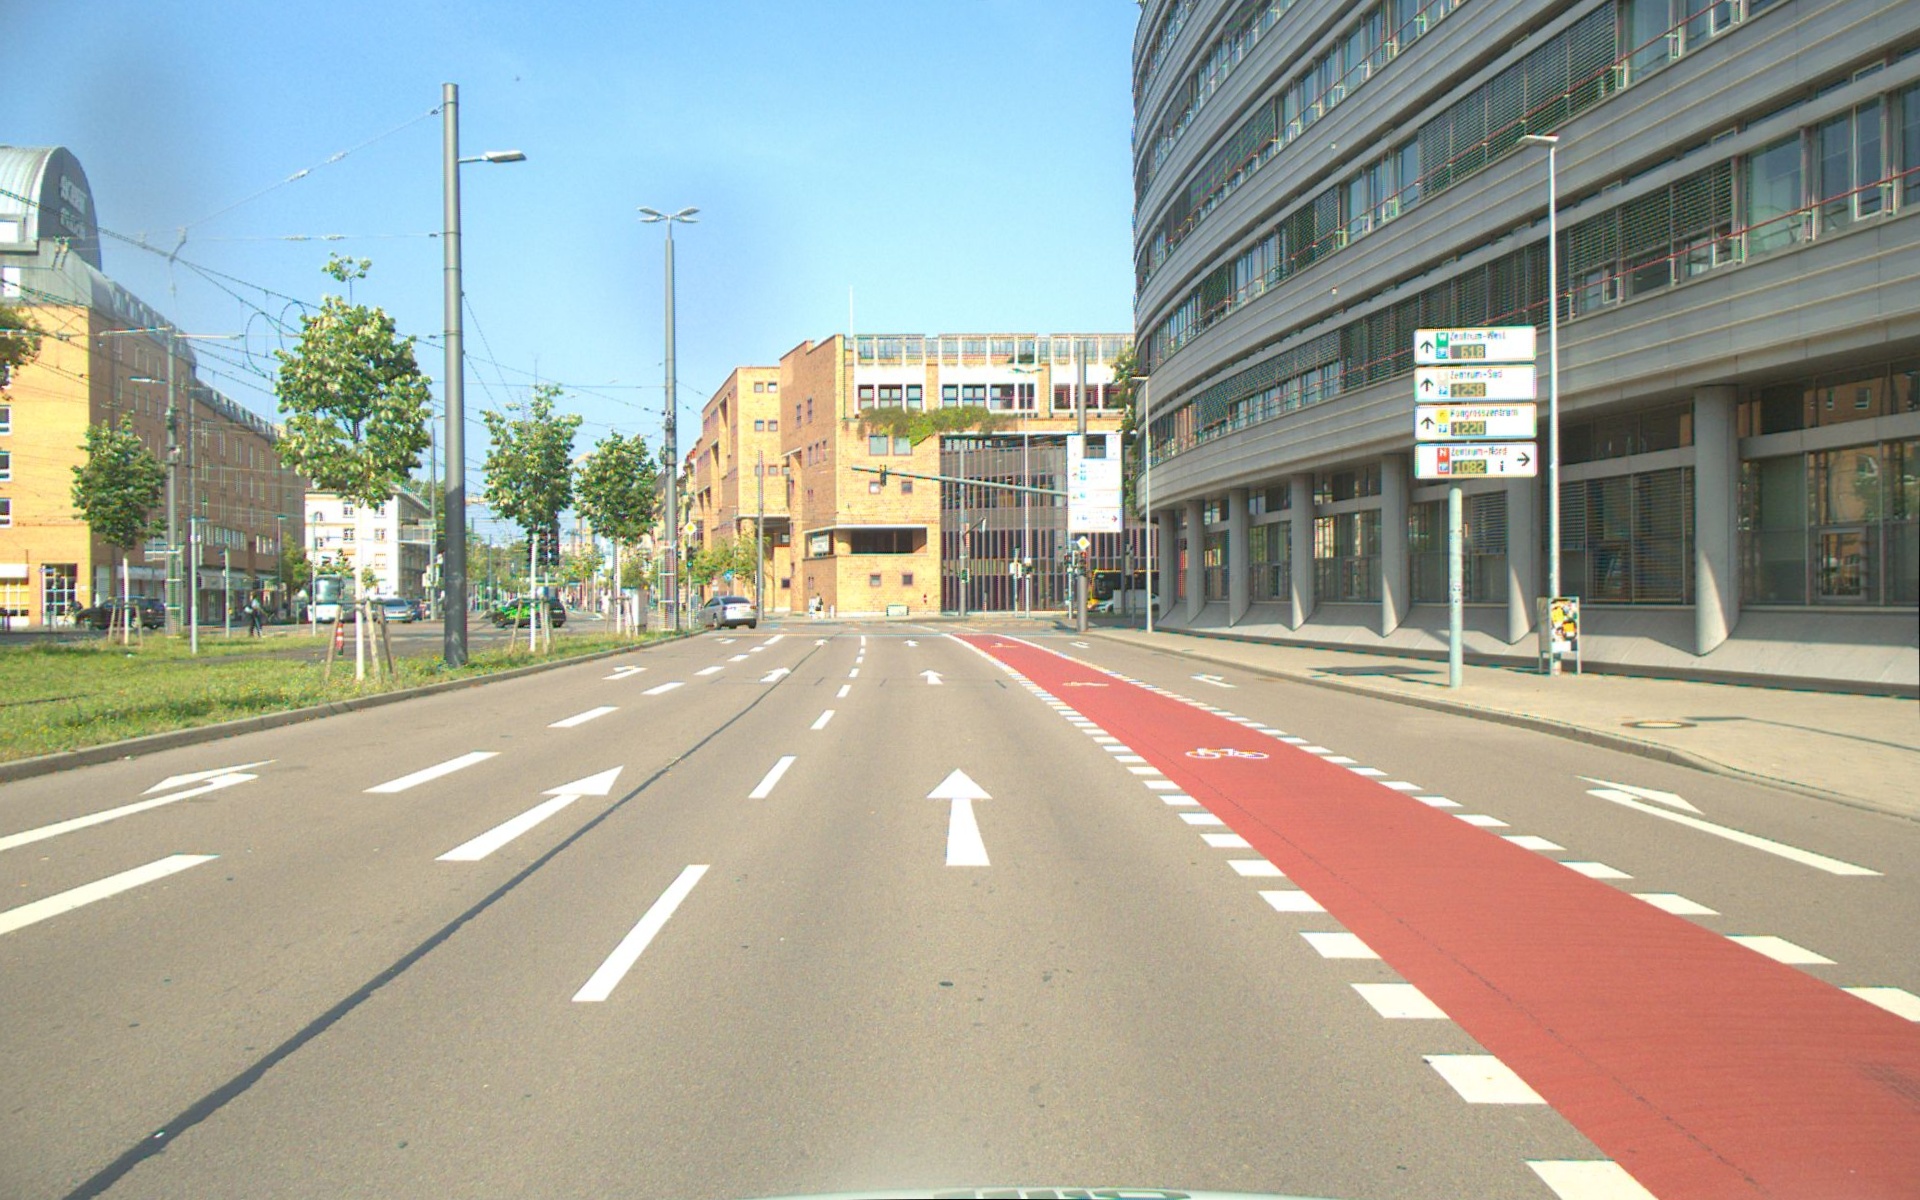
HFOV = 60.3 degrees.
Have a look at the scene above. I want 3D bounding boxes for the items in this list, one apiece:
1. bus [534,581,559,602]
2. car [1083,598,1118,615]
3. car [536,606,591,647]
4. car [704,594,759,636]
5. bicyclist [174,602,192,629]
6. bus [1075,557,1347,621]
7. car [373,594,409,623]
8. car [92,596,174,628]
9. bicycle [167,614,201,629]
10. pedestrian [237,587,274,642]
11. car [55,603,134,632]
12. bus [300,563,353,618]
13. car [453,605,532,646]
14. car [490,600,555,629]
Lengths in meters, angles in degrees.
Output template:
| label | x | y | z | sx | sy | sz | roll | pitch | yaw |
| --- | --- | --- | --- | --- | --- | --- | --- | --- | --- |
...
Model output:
| label | x | y | z | sx | sy | sz | roll | pitch | yaw |
| --- | --- | --- | --- | --- | --- | --- | --- | --- | --- |
| bus | -40.074 | -0.827 | 160.183 | 1.963 | 2.049 | 3.978 | -1 | 1 | -19 |
| car | 8.764 | 0.424 | 103.221 | 1.915 | 0.975 | 1.091 | 2 | -3 | -9 |
| car | -20.501 | 1.379 | 85.693 | 1.954 | 2.049 | 4.240 | -1 | -1 | -3 |
| car | -10.079 | 0.669 | 72.751 | 1.679 | 1.786 | 3.868 | 0 | -2 | -19 |
| bicyclist | -50.324 | 1.015 | 107.185 | 0.971 | 1.725 | 0.667 | 0 | -2 | -19 |
| bus | 16.216 | -0.710 | 107.393 | 17.261 | 3.877 | 2.863 | -1 | -2 | -4 |
| car | -35.956 | 0.537 | 104.487 | 1.664 | 1.663 | 4.356 | -1 | 2 | -26 |
| car | -45.824 | 0.678 | 91.633 | 3.905 | 1.708 | 2.000 | -1 | -2 | 22 |
| bicycle | -50.286 | 1.384 | 107.189 | 1.930 | 0.987 | 0.417 | 0 | -2 | -19 |
| pedestrian | -26.363 | 0.536 | 61.918 | 1.134 | 2.049 | 0.774 | 0 | -2 | -10 |
| car | -49.967 | 1.008 | 95.544 | 3.536 | 1.652 | 1.868 | -1 | 0 | 4 |
| bus | -48.726 | -0.698 | 127.456 | 2.702 | 3.989 | 12.165 | -1 | 0 | -16 |
| car | -24.016 | 1.326 | 84.933 | 3.922 | 2.049 | 1.991 | -2 | -2 | 38 |
| car | -24.639 | 0.832 | 93.108 | 3.375 | 1.569 | 1.730 | -2 | -2 | 34 |
